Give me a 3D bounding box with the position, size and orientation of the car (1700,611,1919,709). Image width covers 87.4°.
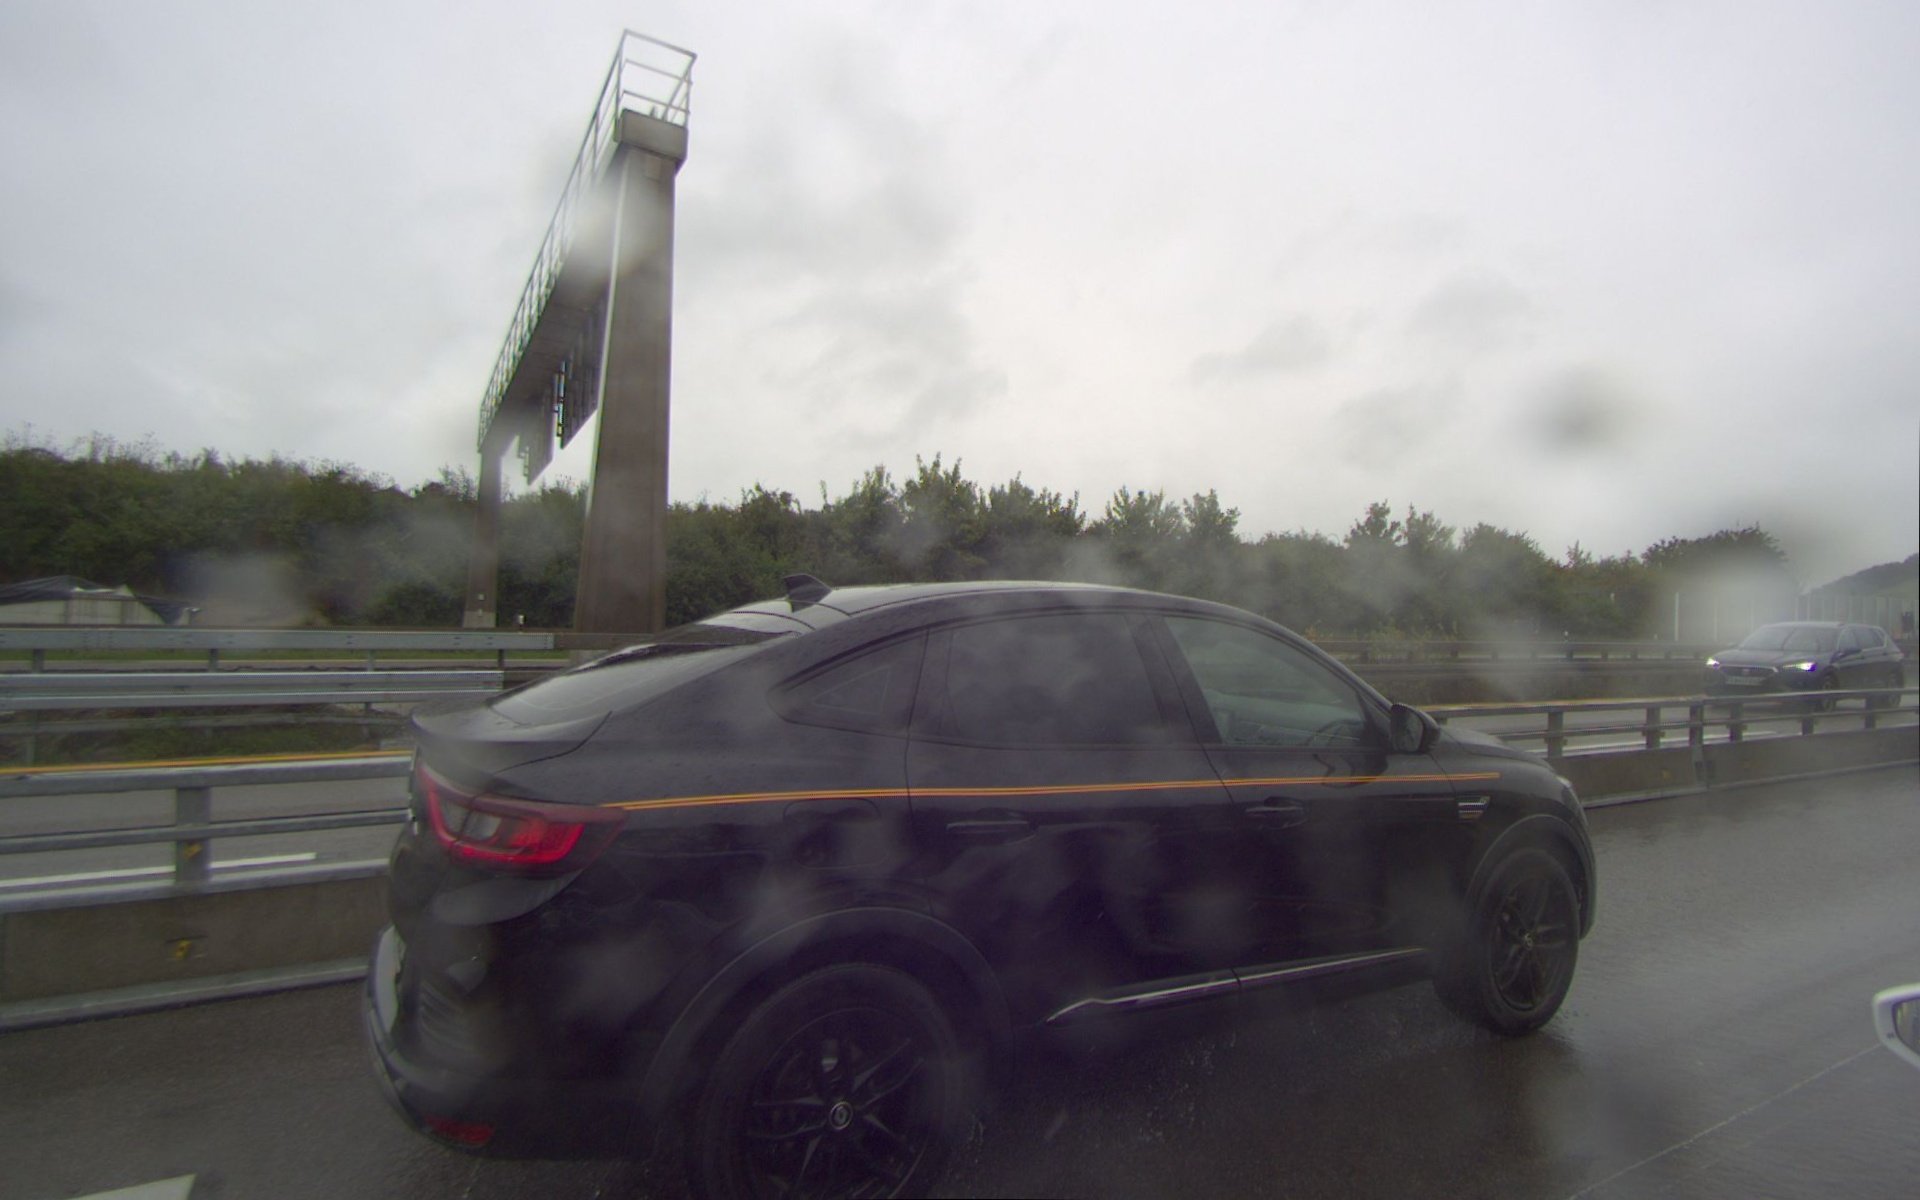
[{"bbox_3d":[16.071,1.093,18.959,4.264,1.626,1.770,2,0,-29],"label":"car"}]

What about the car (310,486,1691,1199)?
[{"bbox_3d":[0.369,0.669,3.599,4.360,1.606,1.985,2,0,-29],"label":"car"}]
